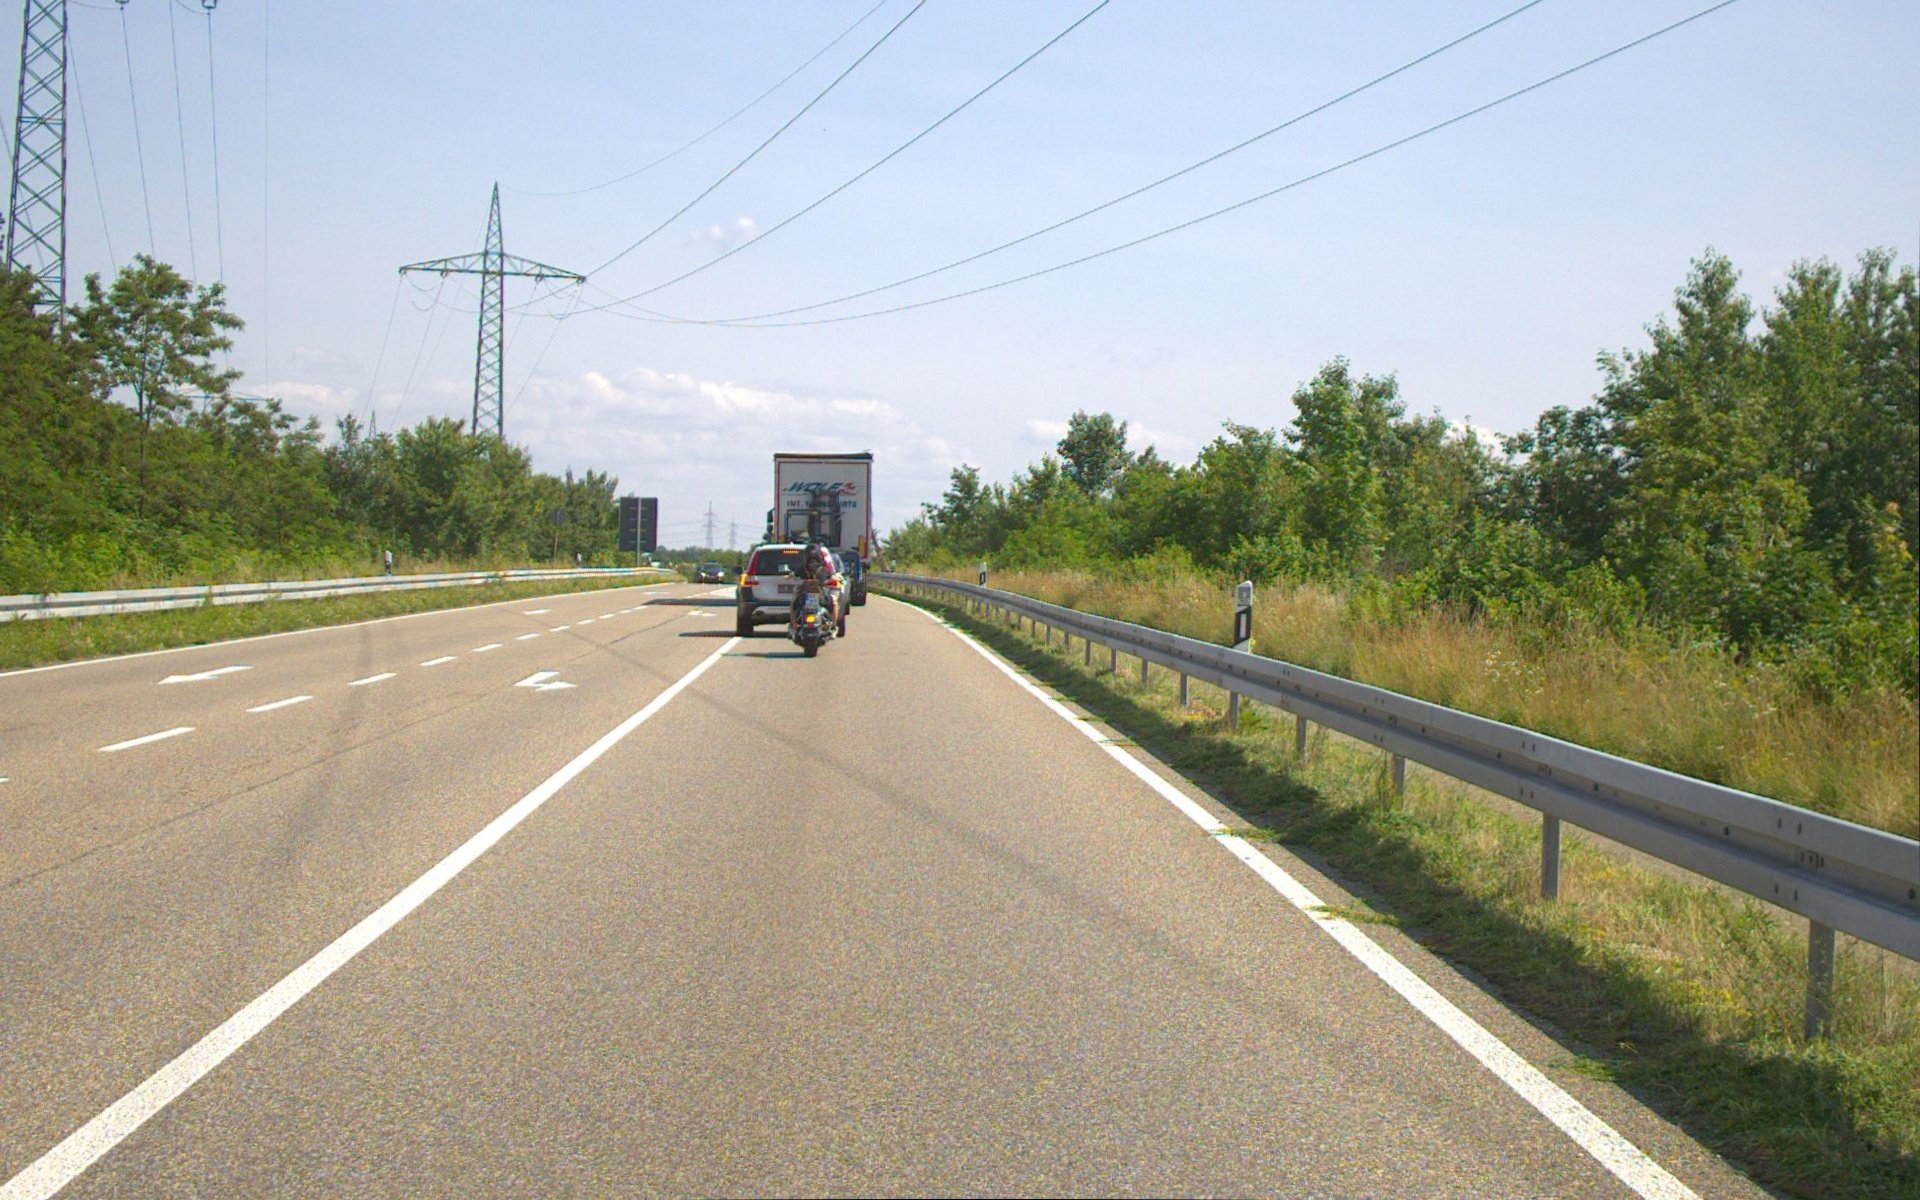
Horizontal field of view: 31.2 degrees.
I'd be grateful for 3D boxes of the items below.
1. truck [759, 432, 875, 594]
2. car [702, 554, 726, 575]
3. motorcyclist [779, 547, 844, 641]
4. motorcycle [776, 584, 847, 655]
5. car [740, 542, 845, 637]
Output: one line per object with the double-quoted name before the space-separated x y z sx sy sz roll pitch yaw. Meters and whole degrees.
"truck" -4.022 -2.384 97.426 2.967 4.172 14.823 1 1 -2
"car" -18.495 -2.687 258.756 1.727 1.486 4.423 1 1 -4
"motorcyclist" -2.069 -0.084 47.717 0.837 1.276 0.919 1 1 -5
"motorcycle" -2.074 0.257 47.679 0.858 0.912 2.228 1 1 -5
"car" -2.854 -0.193 58.416 1.701 1.531 3.499 1 1 -3
